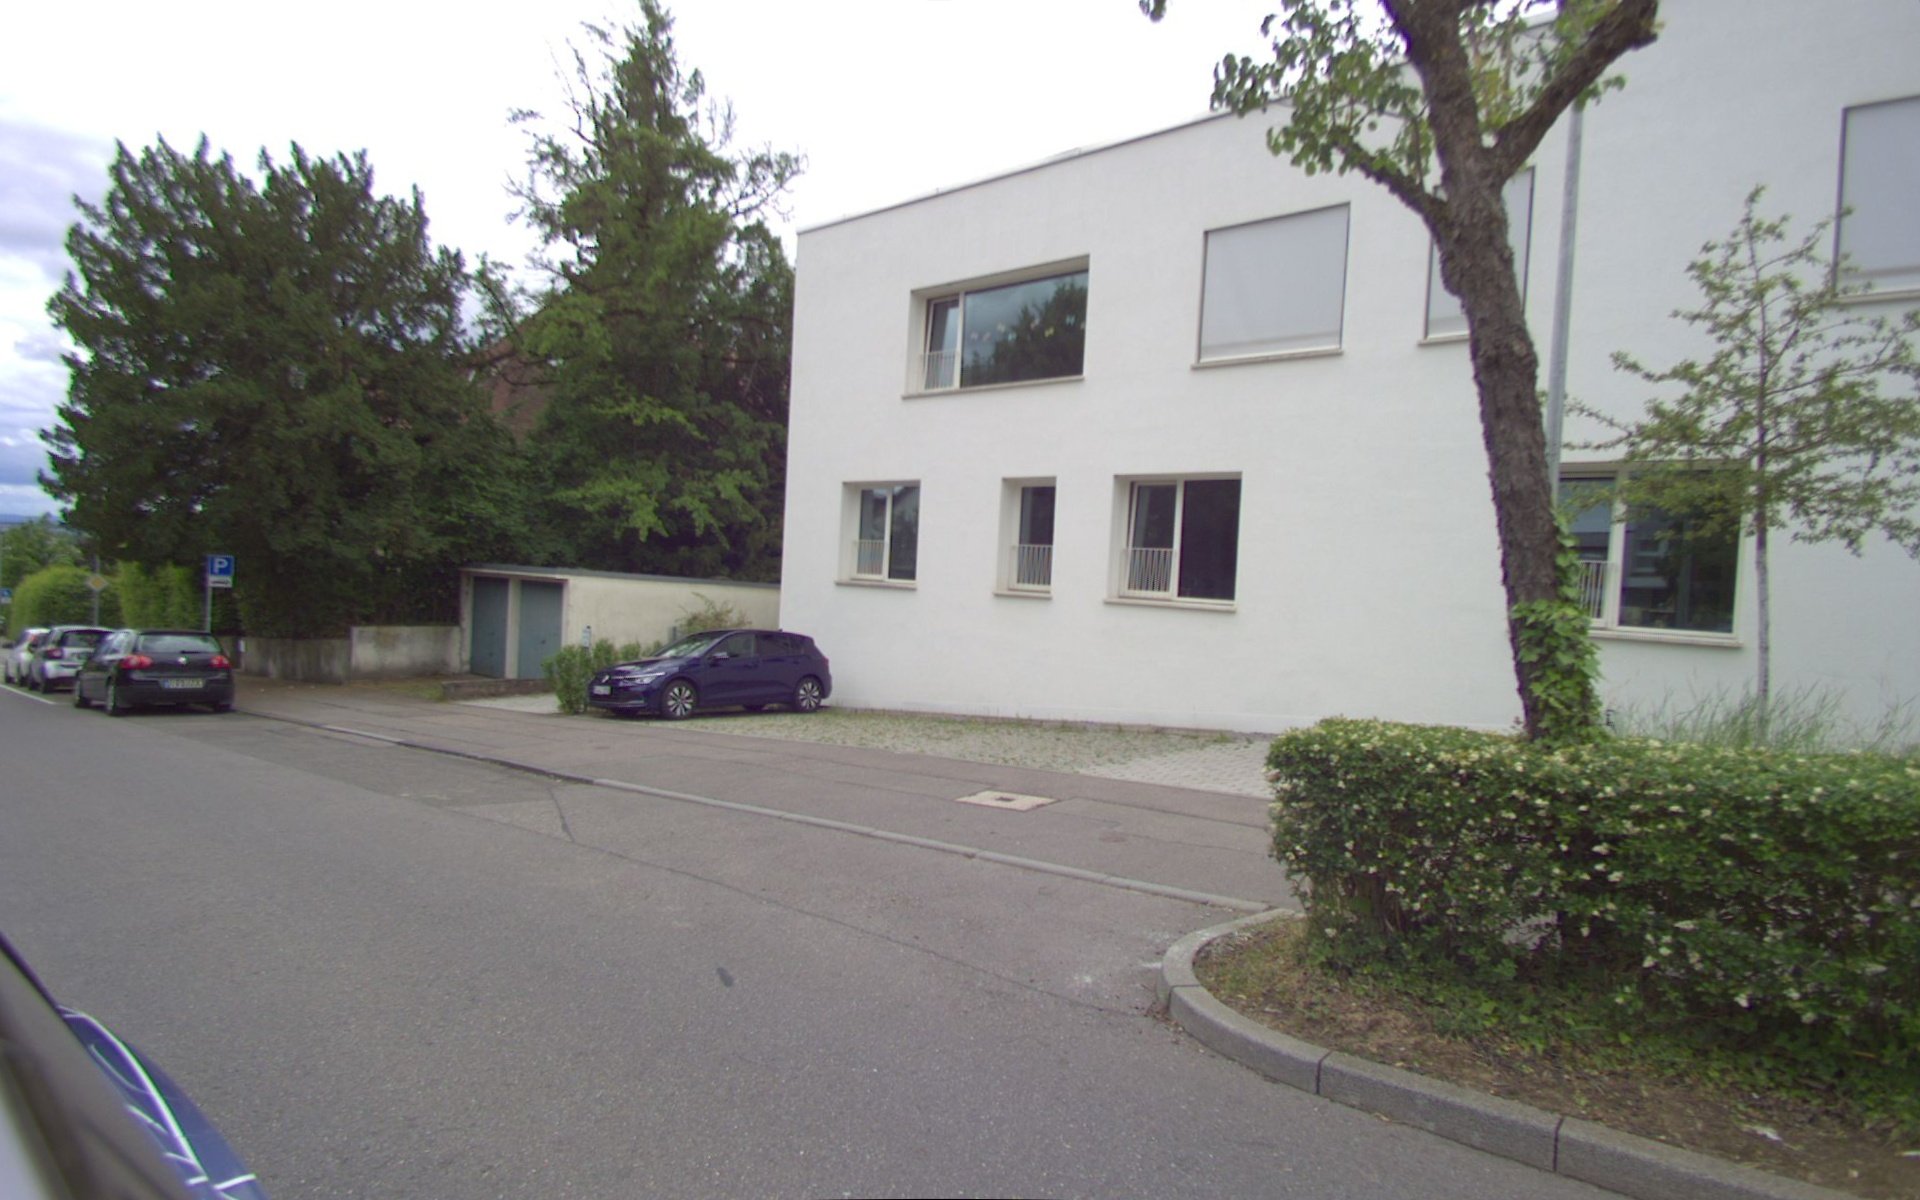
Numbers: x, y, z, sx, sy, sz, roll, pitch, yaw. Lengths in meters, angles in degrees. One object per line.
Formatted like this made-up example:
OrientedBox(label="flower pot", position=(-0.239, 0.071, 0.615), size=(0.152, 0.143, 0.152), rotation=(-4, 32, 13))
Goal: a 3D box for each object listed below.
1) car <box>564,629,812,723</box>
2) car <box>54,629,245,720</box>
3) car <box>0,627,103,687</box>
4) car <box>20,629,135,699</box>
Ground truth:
OrientedBox(label="car", position=(-4.395, 1.168, 16.844), size=(1.738, 1.364, 3.761), rotation=(-1, -2, 35))
OrientedBox(label="car", position=(-15.027, 1.293, 18.673), size=(4.678, 1.481, 1.832), rotation=(-2, -3, 40))
OrientedBox(label="car", position=(-23.879, 1.478, 26.493), size=(3.513, 1.459, 1.725), rotation=(-3, -4, 43))
OrientedBox(label="car", position=(-20.867, 1.460, 23.908), size=(2.973, 1.530, 1.607), rotation=(-1, -2, 40))
